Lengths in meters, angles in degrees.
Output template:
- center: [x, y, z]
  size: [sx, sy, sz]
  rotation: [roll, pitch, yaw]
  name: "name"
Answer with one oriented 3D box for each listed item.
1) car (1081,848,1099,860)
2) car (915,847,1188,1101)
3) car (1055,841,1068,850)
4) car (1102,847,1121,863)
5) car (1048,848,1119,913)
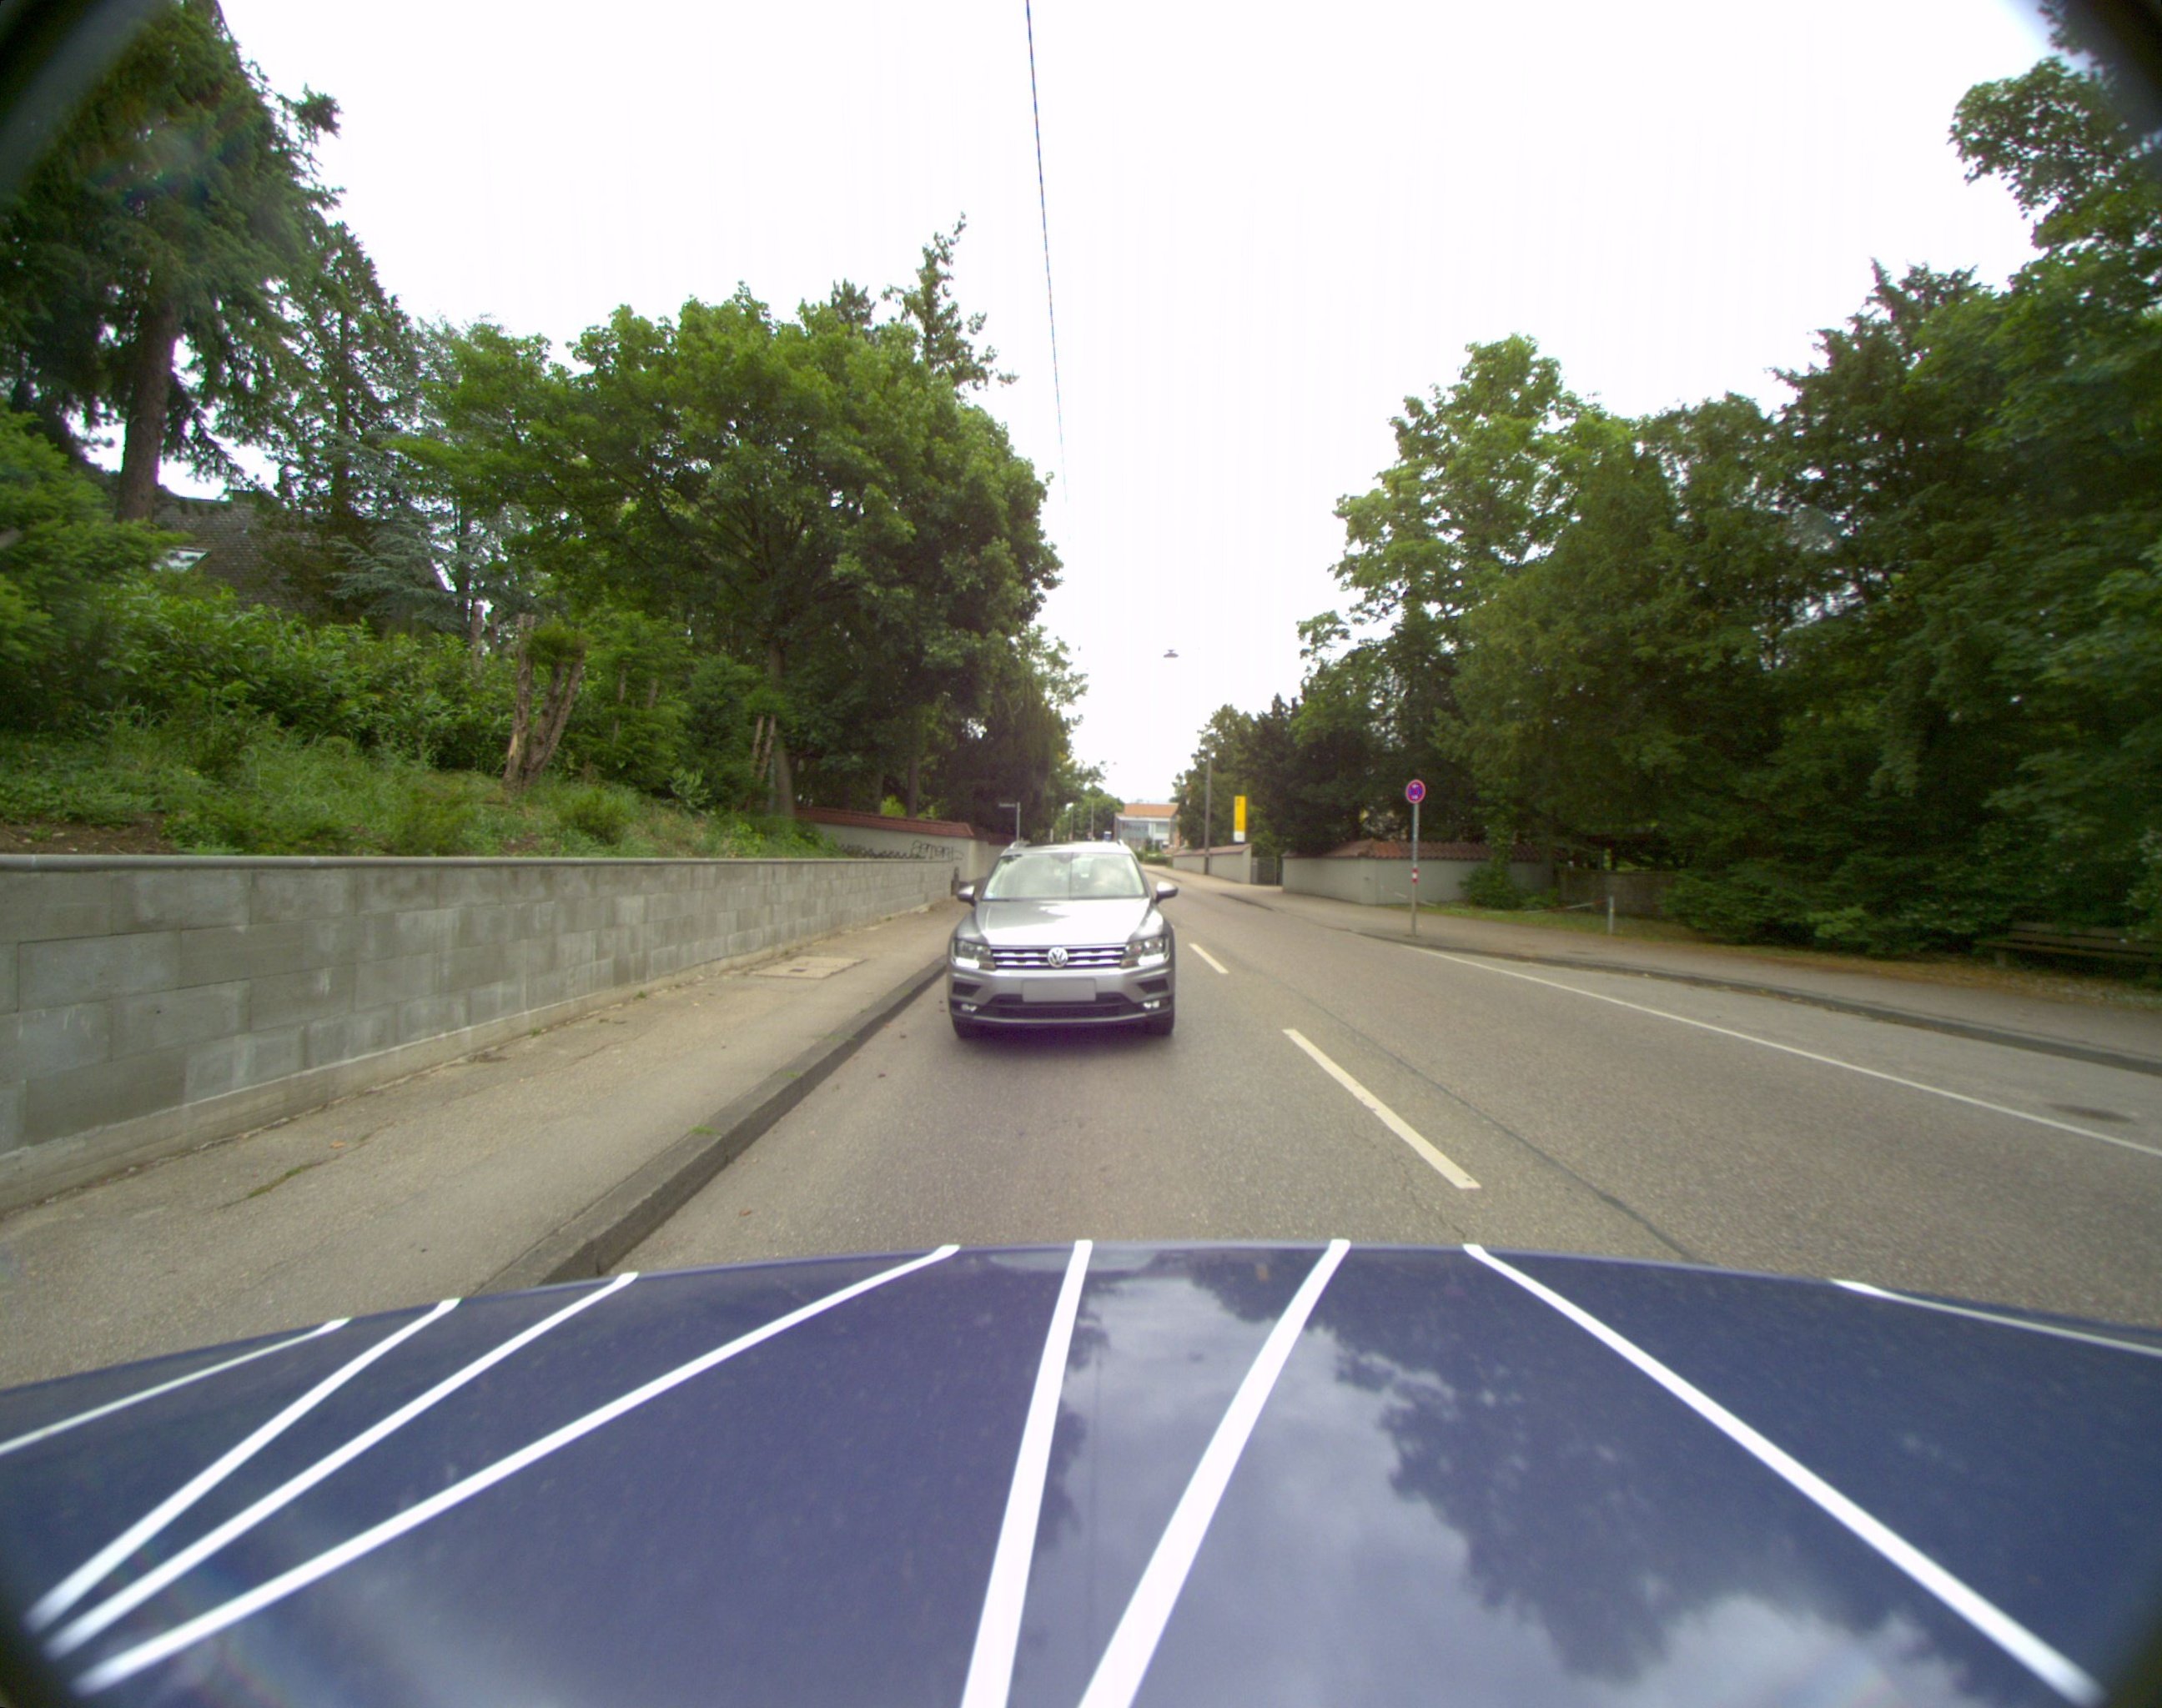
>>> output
- center: [1.244, -0.082, 107.744]
  size: [1.878, 1.647, 4.252]
  rotation: [0, 1, -8]
  name: "car"
- center: [-0.186, 0.803, 7.521]
  size: [1.820, 1.690, 4.718]
  rotation: [-1, 0, 0]
  name: "car"
- center: [-3.604, -1.537, 140.708]
  size: [1.878, 1.647, 4.251]
  rotation: [0, 1, -9]
  name: "car"
- center: [3.262, 0.118, 81.506]
  size: [1.877, 1.647, 4.255]
  rotation: [0, 1, 0]
  name: "car"
- center: [0.066, 0.662, 21.719]
  size: [1.820, 1.647, 4.487]
  rotation: [0, 1, 0]
  name: "car"
